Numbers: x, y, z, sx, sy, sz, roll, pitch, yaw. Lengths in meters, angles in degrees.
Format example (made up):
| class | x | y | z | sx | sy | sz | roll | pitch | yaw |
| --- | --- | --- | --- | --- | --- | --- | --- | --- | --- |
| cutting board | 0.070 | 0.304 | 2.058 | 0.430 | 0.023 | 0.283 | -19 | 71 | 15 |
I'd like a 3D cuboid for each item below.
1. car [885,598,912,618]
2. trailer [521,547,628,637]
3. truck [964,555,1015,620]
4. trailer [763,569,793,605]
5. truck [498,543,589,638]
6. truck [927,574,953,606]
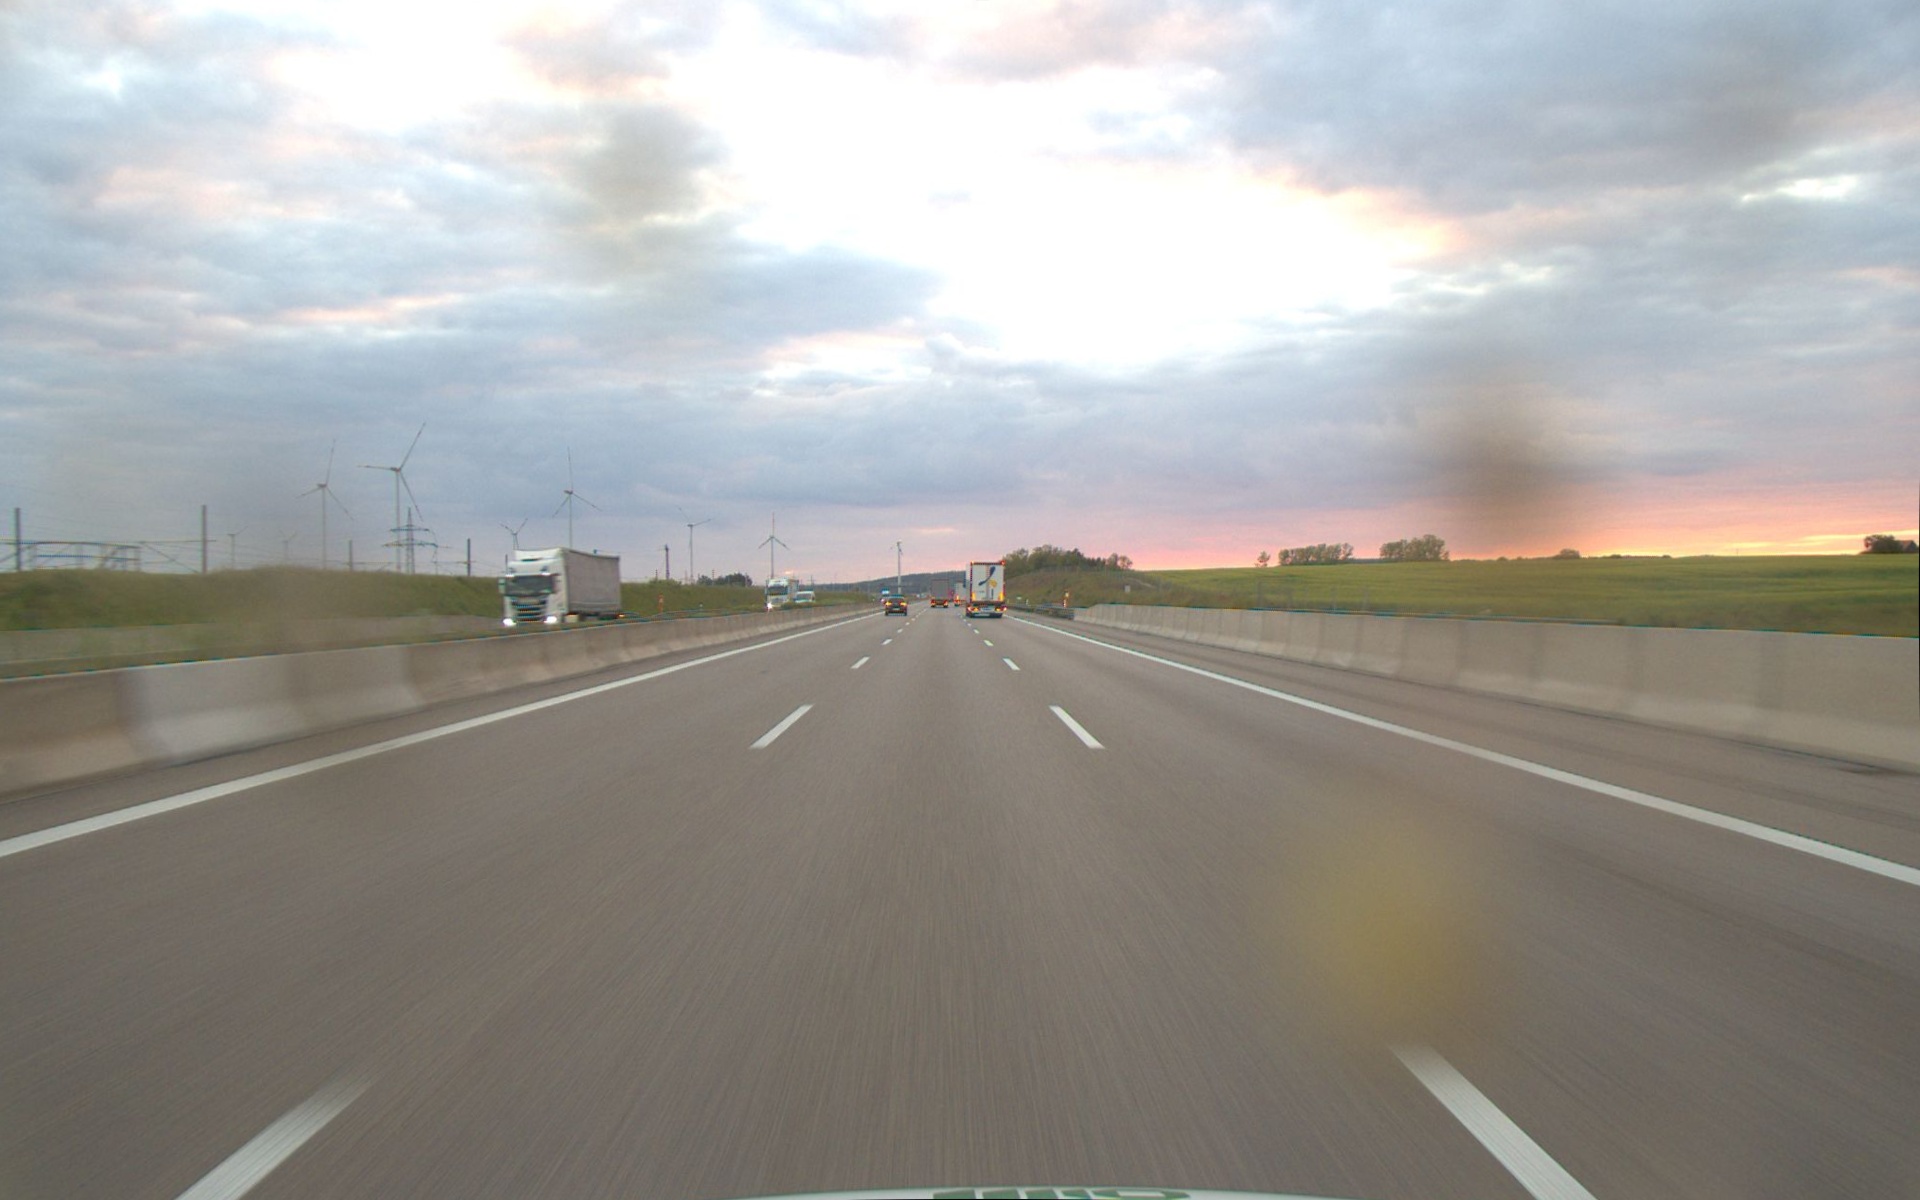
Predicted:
| class | x | y | z | sx | sy | sz | roll | pitch | yaw |
| --- | --- | --- | --- | --- | --- | --- | --- | --- | --- |
| car | -4.838 | 0.601 | 130.620 | 1.947 | 1.454 | 4.000 | -1 | 1 | 0 |
| trailer | -20.386 | -0.460 | 88.396 | 2.760 | 4.428 | 12.837 | 1 | 0 | -1 |
| truck | 2.133 | -0.958 | 125.557 | 3.600 | 4.644 | 10.980 | -1 | 0 | 0 |
| trailer | -22.112 | -1.606 | 201.051 | 2.632 | 4.186 | 6.938 | -2 | 0 | 0 |
| truck | -20.354 | -0.448 | 81.128 | 2.760 | 4.428 | 6.738 | 1 | 0 | -1 |
| truck | -2.926 | -1.448 | 236.469 | 3.573 | 4.491 | 8.634 | -1 | 0 | -1 |
